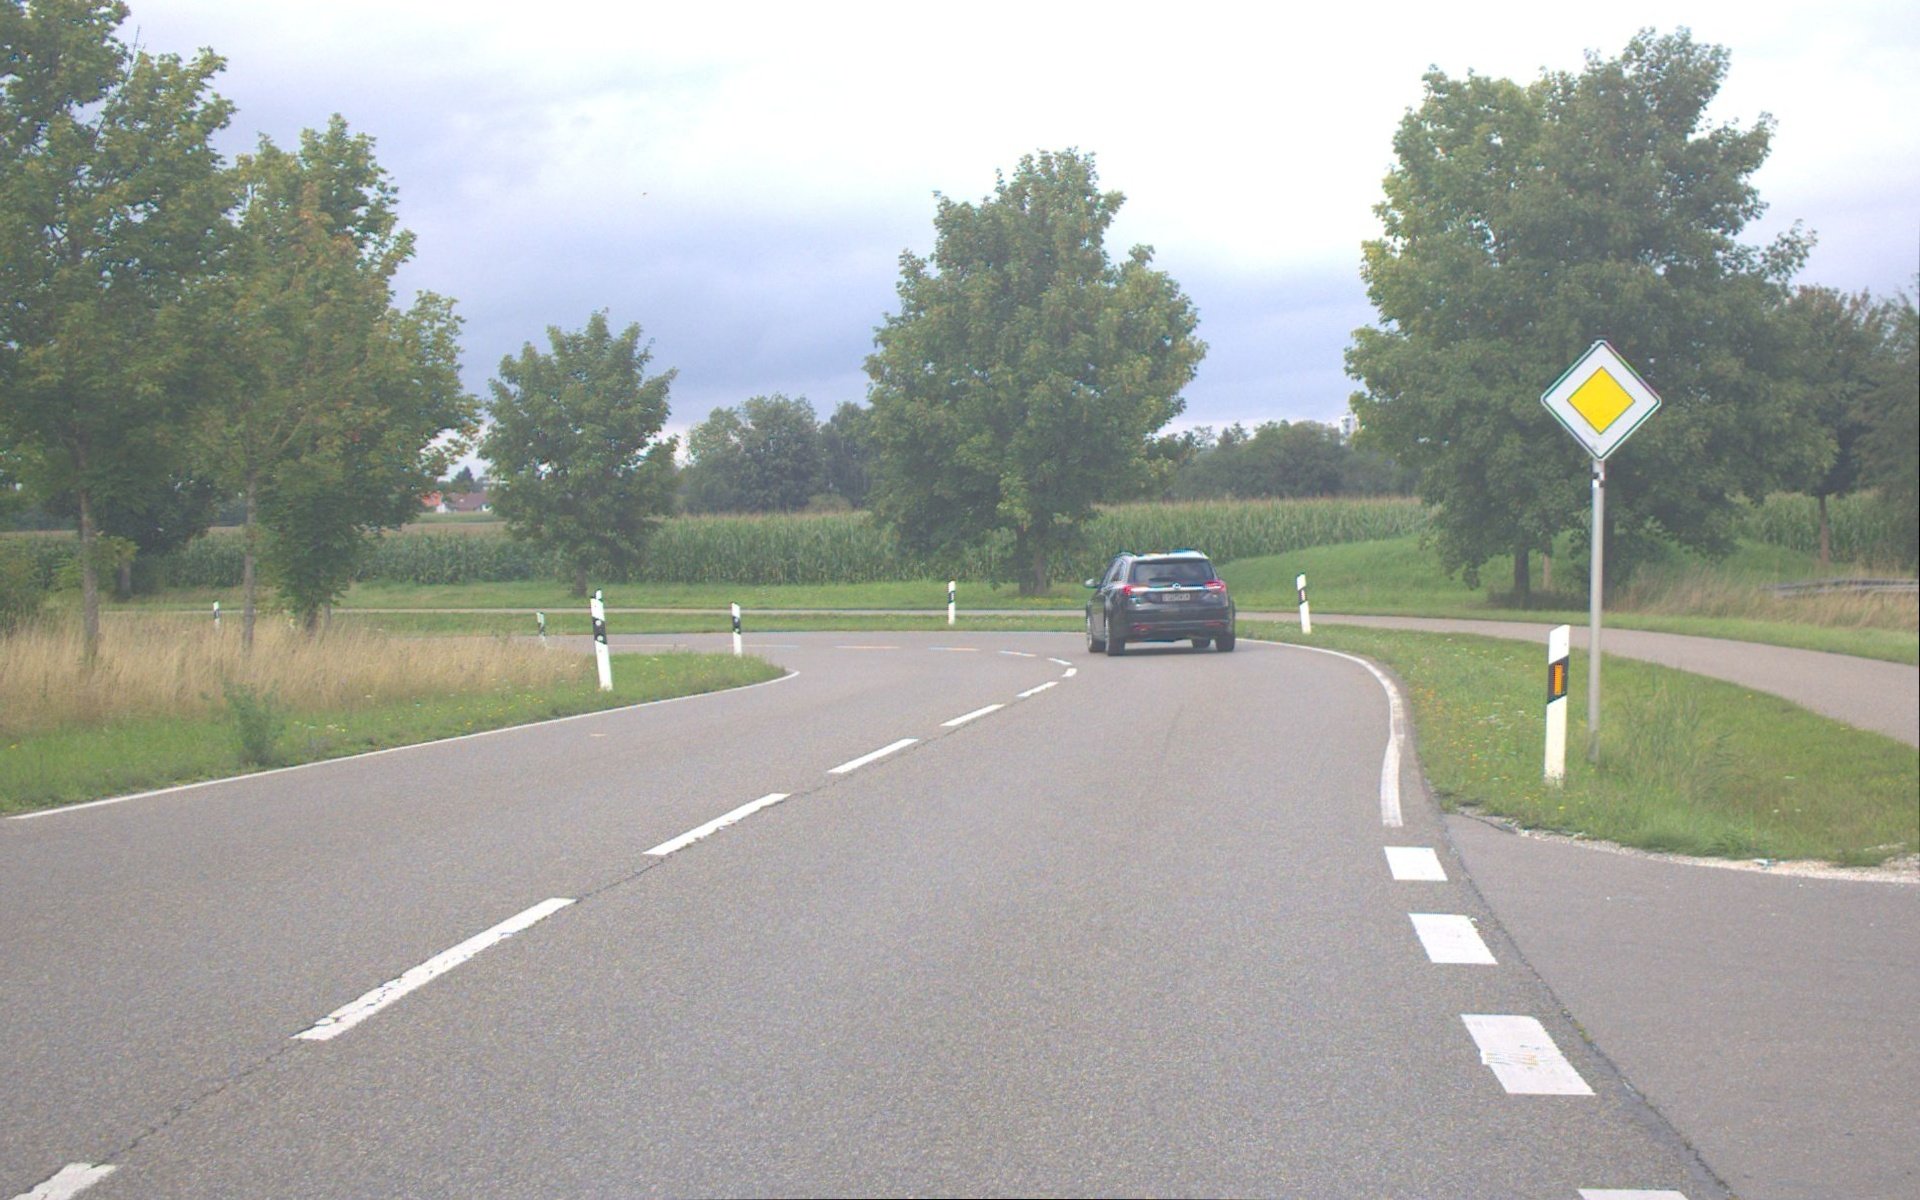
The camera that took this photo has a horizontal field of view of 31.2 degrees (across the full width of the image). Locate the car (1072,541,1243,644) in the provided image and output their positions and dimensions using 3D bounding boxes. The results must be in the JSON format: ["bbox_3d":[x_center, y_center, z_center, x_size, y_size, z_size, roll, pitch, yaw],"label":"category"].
[{"bbox_3d":[2.803,-0.139,49.578,1.841,1.412,4.001,-1,1,-6],"label":"car"}]
